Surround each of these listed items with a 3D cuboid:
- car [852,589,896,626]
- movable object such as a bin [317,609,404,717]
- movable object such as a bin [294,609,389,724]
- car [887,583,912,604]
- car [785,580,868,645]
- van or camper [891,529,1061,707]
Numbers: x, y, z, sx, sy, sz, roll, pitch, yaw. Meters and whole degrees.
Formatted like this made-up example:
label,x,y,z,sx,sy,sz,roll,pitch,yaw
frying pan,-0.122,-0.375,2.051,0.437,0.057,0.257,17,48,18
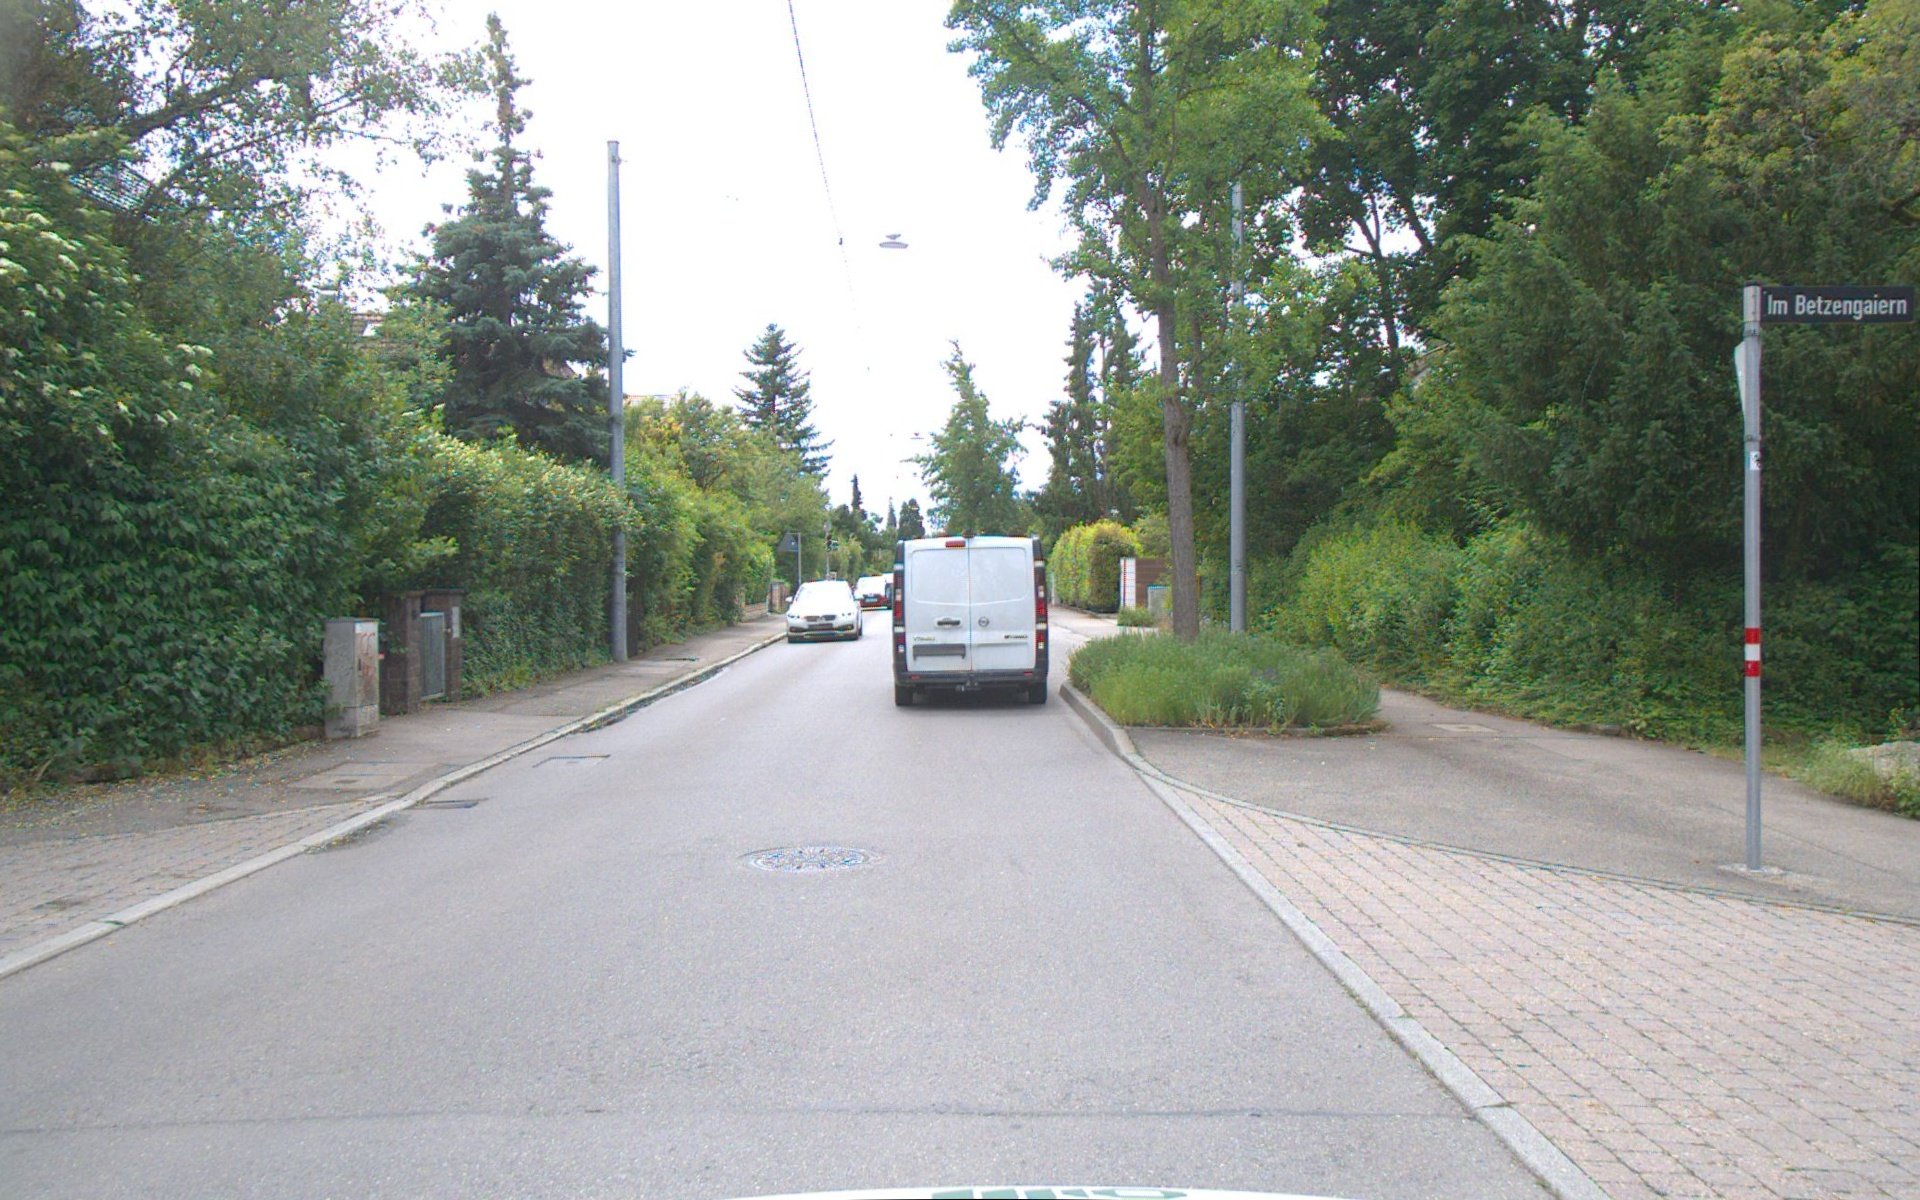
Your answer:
label,x,y,z,sx,sy,sz,roll,pitch,yaw
car,-3.756,0.324,72.744,1.769,1.456,4.116,-3,1,-2
movable object such as a bin,-6.570,0.682,18.154,0.713,1.136,0.585,2,0,-4
movable object such as a bin,-6.495,0.694,17.408,0.713,1.145,0.722,2,0,-4
car,-4.639,-0.520,125.956,1.817,1.476,4.279,-2,1,-3
car,-3.316,0.278,41.794,1.769,1.456,4.300,-3,1,-1
van or camper,0.107,0.231,21.020,1.900,1.988,4.763,1,-1,-2
